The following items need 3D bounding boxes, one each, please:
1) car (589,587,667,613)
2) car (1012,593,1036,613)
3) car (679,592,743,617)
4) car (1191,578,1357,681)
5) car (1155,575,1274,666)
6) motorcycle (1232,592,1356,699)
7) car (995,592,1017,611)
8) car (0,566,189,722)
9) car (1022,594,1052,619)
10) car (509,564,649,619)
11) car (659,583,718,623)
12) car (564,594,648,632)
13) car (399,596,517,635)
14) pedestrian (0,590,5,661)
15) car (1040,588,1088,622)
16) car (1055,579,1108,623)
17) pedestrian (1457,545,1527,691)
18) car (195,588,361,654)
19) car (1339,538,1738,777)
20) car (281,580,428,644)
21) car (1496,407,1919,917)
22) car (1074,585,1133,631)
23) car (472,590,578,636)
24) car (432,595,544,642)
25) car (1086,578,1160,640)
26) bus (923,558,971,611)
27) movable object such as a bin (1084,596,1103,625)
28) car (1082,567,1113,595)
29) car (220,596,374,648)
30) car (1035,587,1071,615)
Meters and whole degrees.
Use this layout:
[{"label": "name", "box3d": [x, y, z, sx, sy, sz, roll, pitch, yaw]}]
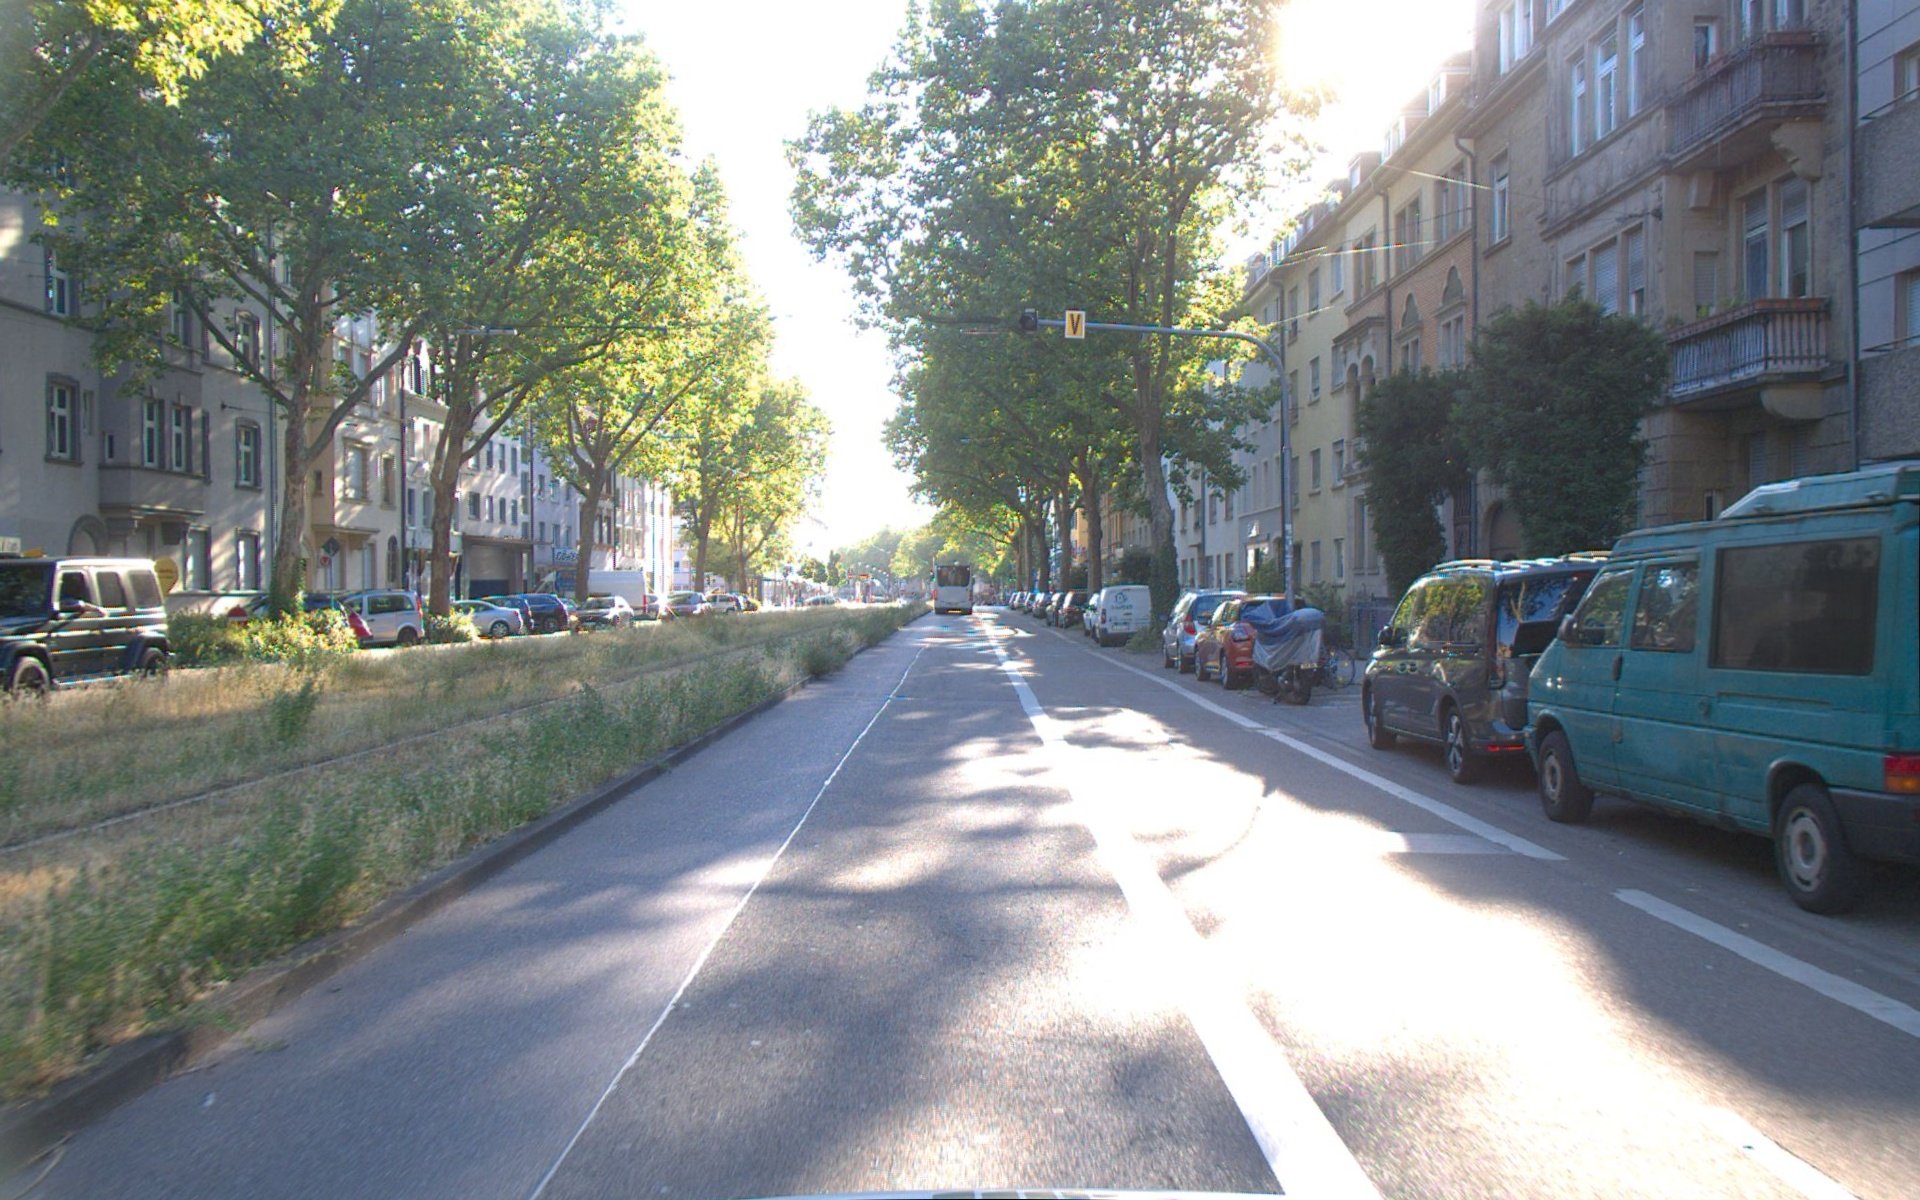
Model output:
[{"label": "car", "box3d": [-19.119, 0.010, 95.351, 4.215, 1.483, 1.856, 0, 0, -6]}, {"label": "car", "box3d": [5.120, 0.209, 132.817, 1.744, 1.542, 4.000, -1, 0, 0]}, {"label": "car", "box3d": [-18.111, 0.301, 120.397, 4.273, 1.768, 1.831, 0, -1, -41]}, {"label": "car", "box3d": [5.202, 0.474, 27.920, 1.953, 1.587, 3.979, 0, 0, -1]}, {"label": "car", "box3d": [5.063, 0.395, 33.388, 1.709, 1.720, 3.851, 0, 0, -1]}, {"label": "motorcycle", "box3d": [4.768, 0.612, 23.778, 0.809, 1.422, 2.372, -3, 1, -13]}, {"label": "car", "box3d": [3.852, 0.130, 139.366, 1.744, 1.542, 4.000, -1, 0, 0]}, {"label": "car", "box3d": [-11.565, 0.506, 20.618, 1.832, 1.723, 4.774, 0, 0, -3]}, {"label": "car", "box3d": [5.126, 0.412, 110.208, 1.744, 1.542, 4.000, -1, 0, 0]}, {"label": "car", "box3d": [-19.692, -0.436, 85.482, 6.838, 2.725, 2.172, 0, -1, -22]}, {"label": "car", "box3d": [-11.269, 0.116, 68.899, 1.753, 1.601, 4.000, -1, 0, 0]}, {"label": "car", "box3d": [-14.295, 0.516, 67.003, 1.708, 1.485, 4.929, -1, 0, 8]}, {"label": "car", "box3d": [-18.577, 0.569, 61.258, 3.949, 1.380, 1.568, 0, -1, -32]}, {"label": "pedestrian", "box3d": [-24.580, 0.657, 41.655, 0.614, 1.790, 0.673, -1, 0, 5]}, {"label": "car", "box3d": [4.788, 0.232, 76.408, 1.652, 1.512, 3.996, 0, 0, -4]}, {"label": "car", "box3d": [5.074, 0.056, 69.521, 1.709, 1.801, 4.987, 0, 0, -1]}, {"label": "pedestrian", "box3d": [7.319, 0.239, 22.776, 0.696, 1.971, 0.815, 0, 0, 0]}, {"label": "car", "box3d": [-18.920, 0.555, 45.977, 3.961, 1.753, 1.759, 0, -1, -40]}, {"label": "car", "box3d": [5.116, 0.467, 15.439, 1.953, 1.862, 4.756, 0, 0, -1]}, {"label": "car", "box3d": [-19.072, 0.371, 52.161, 3.959, 1.915, 1.973, 0, -1, -38]}, {"label": "car", "box3d": [5.158, 0.285, 10.099, 1.953, 2.297, 5.233, 0, 0, -1]}, {"label": "car", "box3d": [4.914, 0.260, 57.018, 1.612, 1.512, 3.999, -1, 0, -1]}, {"label": "car", "box3d": [-18.324, 0.536, 69.759, 3.949, 1.728, 1.836, -3, 1, -32]}, {"label": "car", "box3d": [-18.927, 0.713, 66.385, 3.950, 1.580, 1.836, -4, 2, -32]}, {"label": "car", "box3d": [4.930, 0.269, 50.587, 1.709, 1.801, 4.393, 0, 0, -1]}, {"label": "bus", "box3d": [-0.913, -0.967, 108.941, 2.777, 3.292, 8.177, 0, 0, -3]}, {"label": "movable object such as a bin", "box3d": [5.153, 0.391, 63.867, 0.659, 1.064, 0.880, -1, 2, 0]}, {"label": "car", "box3d": [9.796, -1.366, 117.929, 1.845, 1.892, 4.325, 0, 0, 0]}, {"label": "car", "box3d": [-19.447, 0.628, 48.595, 3.961, 1.473, 1.563, 0, -1, -40]}, {"label": "car", "box3d": [5.168, 0.037, 92.645, 1.744, 1.542, 4.000, -1, 0, 0]}]
